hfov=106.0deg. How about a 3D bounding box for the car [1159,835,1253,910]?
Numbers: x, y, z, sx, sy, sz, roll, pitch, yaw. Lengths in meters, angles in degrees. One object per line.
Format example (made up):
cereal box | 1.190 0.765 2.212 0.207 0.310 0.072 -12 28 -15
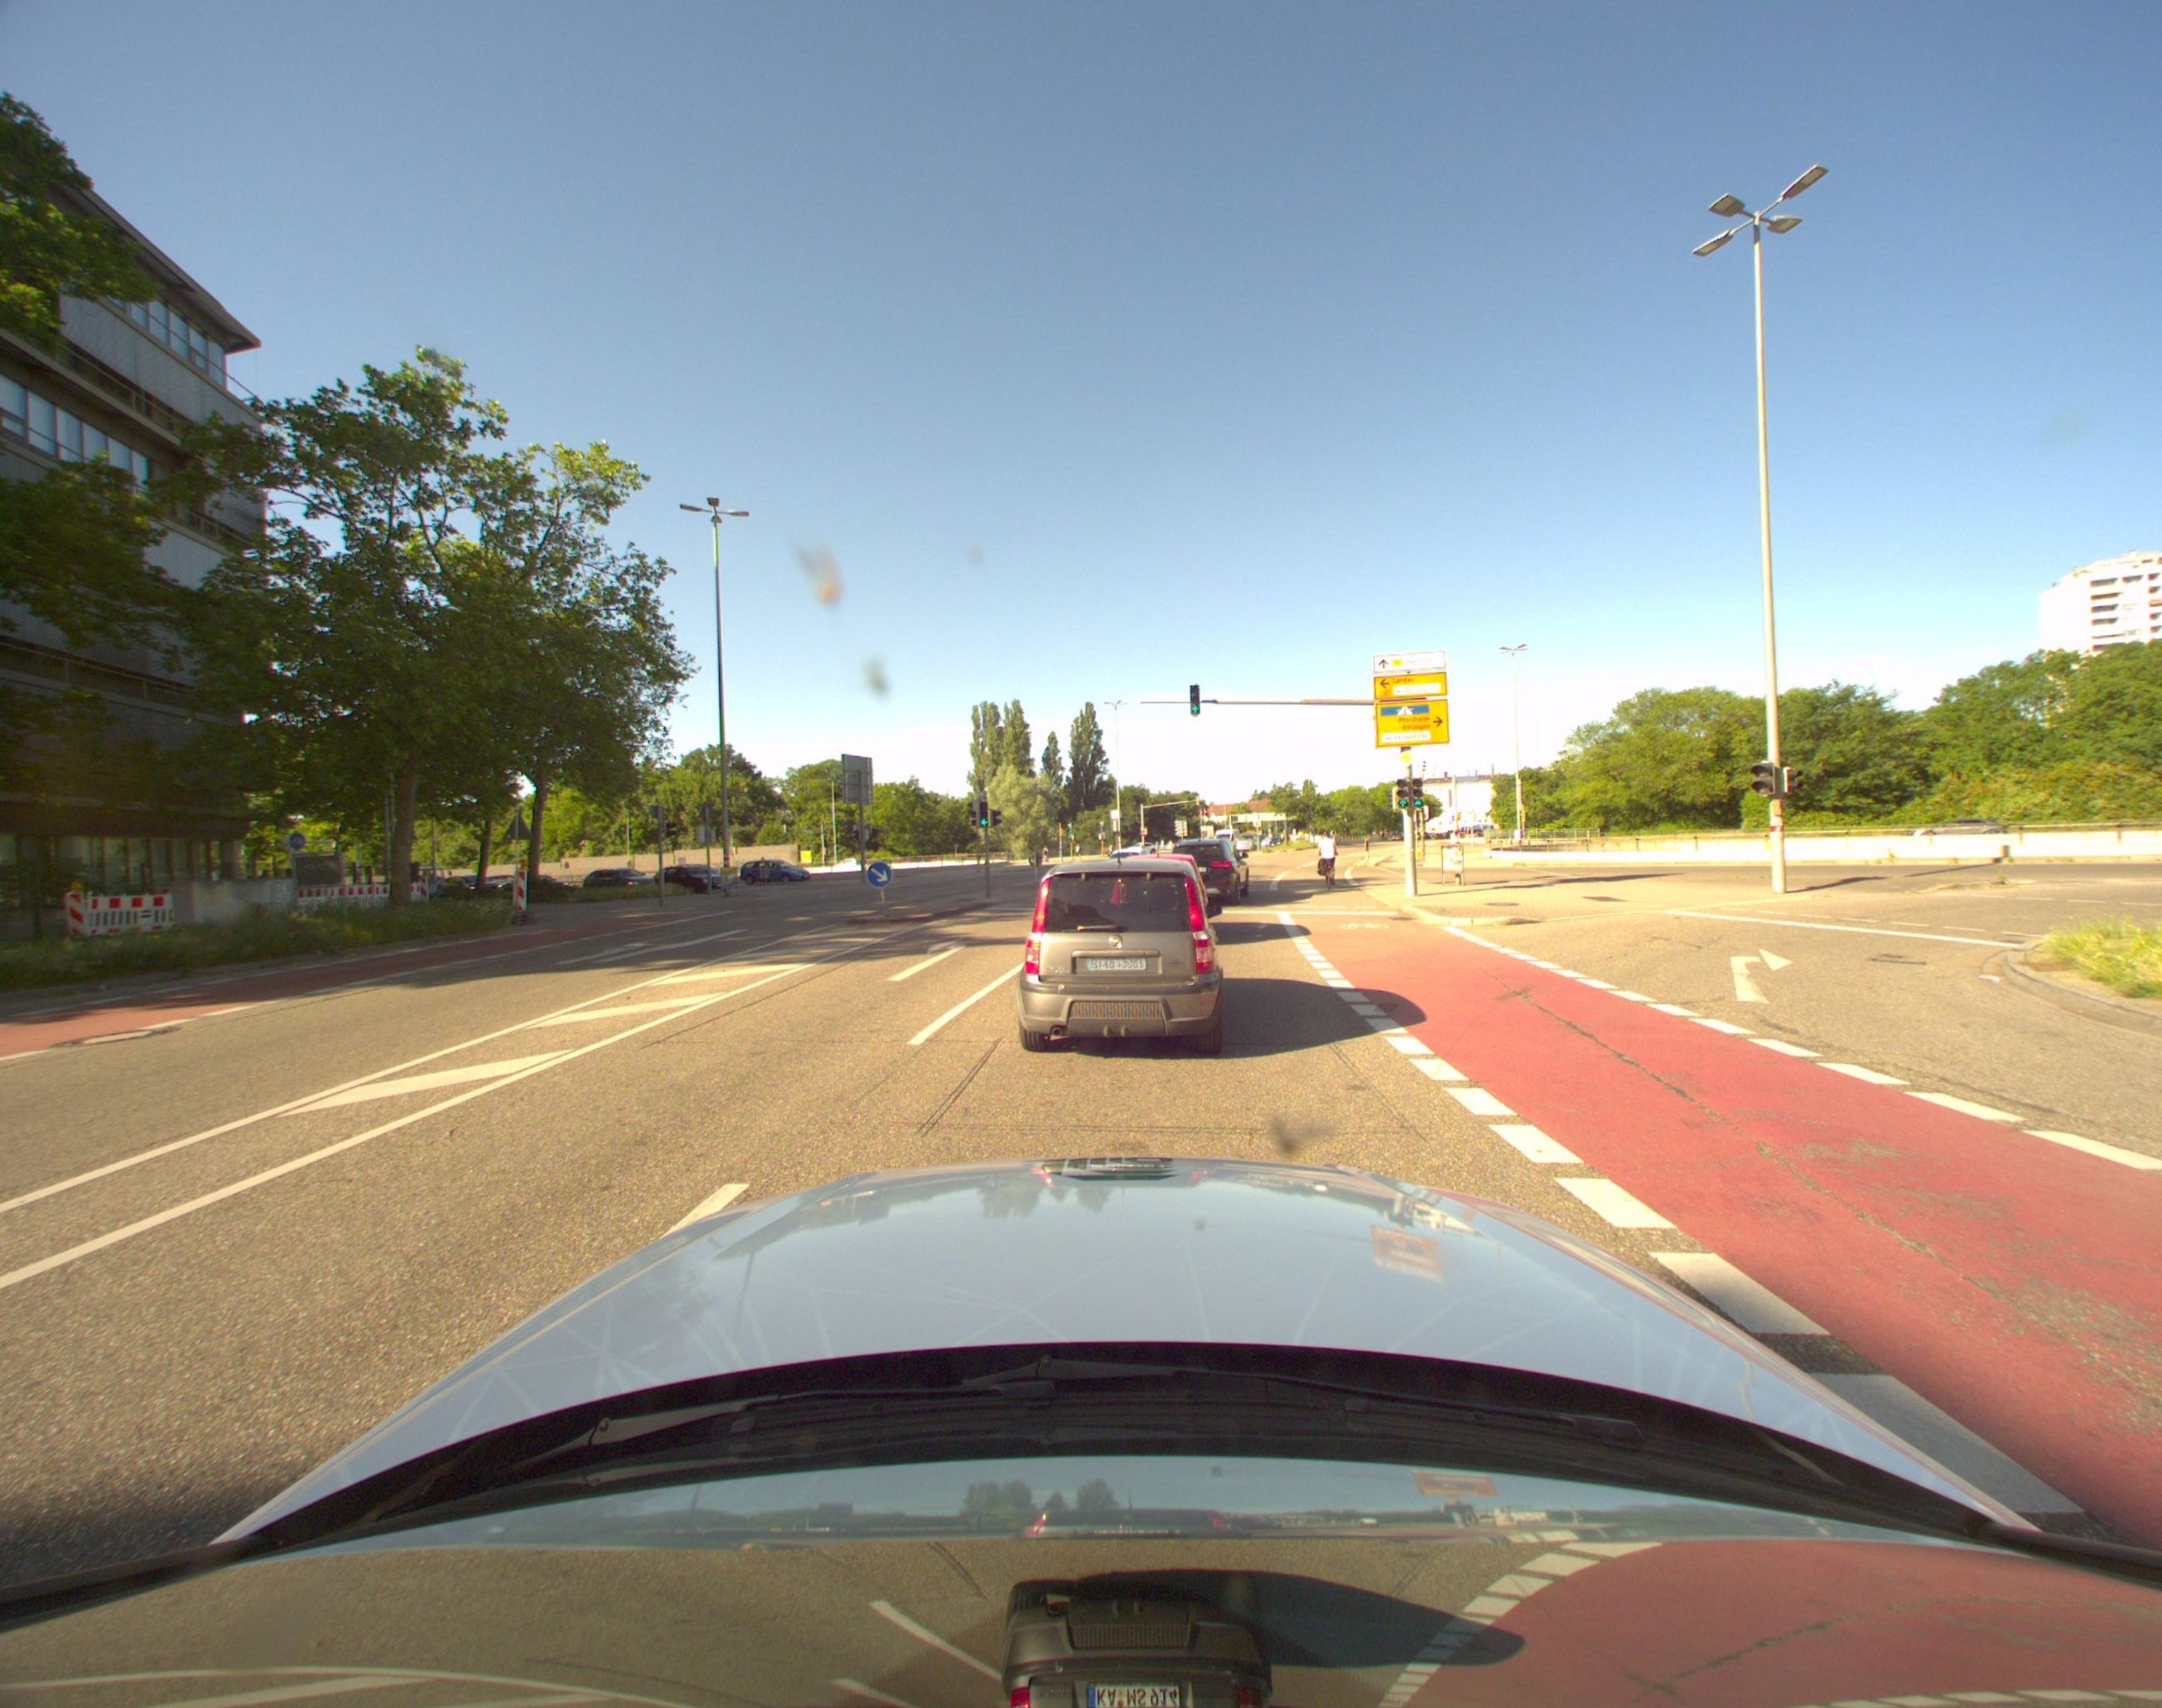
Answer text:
car | 3.548 0.425 22.531 1.930 1.840 4.171 -2 1 17

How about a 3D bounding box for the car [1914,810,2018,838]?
car | 56.137 -1.919 51.773 4.190 1.552 1.873 -2 1 39

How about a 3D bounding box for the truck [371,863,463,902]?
truck | -43.947 1.897 53.849 7.418 2.359 2.178 -2 1 30

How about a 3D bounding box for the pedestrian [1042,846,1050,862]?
pedestrian | -3.211 -0.010 74.818 0.678 1.463 0.702 -2 0 -4

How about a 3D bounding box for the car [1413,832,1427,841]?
car | 65.277 -3.425 156.639 1.926 1.528 4.123 -2 1 30

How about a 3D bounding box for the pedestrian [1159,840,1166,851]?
pedestrian | 12.165 -1.252 121.043 0.782 1.664 0.633 -1 -1 43

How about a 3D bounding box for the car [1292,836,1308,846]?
car | 44.773 -2.673 166.383 1.974 1.816 4.025 -1 -1 31

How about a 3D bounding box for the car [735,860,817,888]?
car | -18.969 1.216 50.669 4.410 1.540 1.960 -2 1 15

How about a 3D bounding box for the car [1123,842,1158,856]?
car | 7.425 -0.626 101.765 4.351 1.535 1.764 -3 2 -40

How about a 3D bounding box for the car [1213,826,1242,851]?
car | 16.312 -1.729 90.392 1.920 2.576 6.122 -2 1 22

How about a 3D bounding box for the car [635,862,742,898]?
car | -19.710 1.301 40.915 4.731 1.621 1.961 -2 1 18

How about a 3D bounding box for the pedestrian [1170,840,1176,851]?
pedestrian | 14.150 -1.326 125.695 0.713 1.641 0.676 -1 -1 27

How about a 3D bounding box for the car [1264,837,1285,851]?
car | 24.482 -1.302 102.805 1.920 1.622 4.530 -2 1 22

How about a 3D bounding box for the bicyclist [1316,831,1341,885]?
bicyclist | 7.834 0.124 25.822 0.718 1.659 1.118 -1 1 16

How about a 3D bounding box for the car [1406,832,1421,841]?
car | 57.811 -3.075 141.557 1.926 1.528 4.123 -2 1 31

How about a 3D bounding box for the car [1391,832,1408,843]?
car | 50.850 -2.629 129.822 1.926 1.528 4.123 -2 1 30

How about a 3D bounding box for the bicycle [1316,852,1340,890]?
bicycle | 7.859 0.527 25.895 0.686 1.102 1.834 -1 1 17

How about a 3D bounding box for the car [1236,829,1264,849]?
car | 17.938 -1.592 86.364 1.920 2.008 4.958 -2 1 22

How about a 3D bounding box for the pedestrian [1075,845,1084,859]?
pedestrian | -0.171 -0.249 93.013 0.710 1.547 0.725 -3 -1 -14

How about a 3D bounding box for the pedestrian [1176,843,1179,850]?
pedestrian | 14.843 -1.137 125.398 0.419 1.136 0.400 -1 -1 27

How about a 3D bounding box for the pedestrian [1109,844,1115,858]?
pedestrian | 3.619 -0.332 95.639 0.557 1.547 0.573 -3 -1 -14

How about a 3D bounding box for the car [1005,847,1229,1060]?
car | 0.491 0.720 7.868 1.609 1.515 3.828 -1 1 7

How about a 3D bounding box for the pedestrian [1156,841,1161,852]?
pedestrian | 11.592 -1.128 121.835 0.494 1.702 0.503 -1 -1 26

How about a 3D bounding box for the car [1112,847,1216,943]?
car | 1.553 0.643 14.873 1.609 1.463 3.758 -2 1 7

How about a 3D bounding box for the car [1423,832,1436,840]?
car | 71.584 -3.703 167.239 1.926 1.528 4.123 -2 1 30

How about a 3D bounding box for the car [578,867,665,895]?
car | -25.006 1.451 44.343 4.452 1.358 1.892 -2 1 26

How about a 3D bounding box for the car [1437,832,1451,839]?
car | 83.972 -4.345 188.201 1.926 1.528 4.124 -2 1 39

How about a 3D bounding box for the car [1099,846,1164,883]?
car | 2.256 0.423 35.229 1.766 1.415 4.338 -2 1 17

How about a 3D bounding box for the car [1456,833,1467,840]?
car | 90.248 -4.088 193.051 1.926 1.528 4.123 -2 1 31
